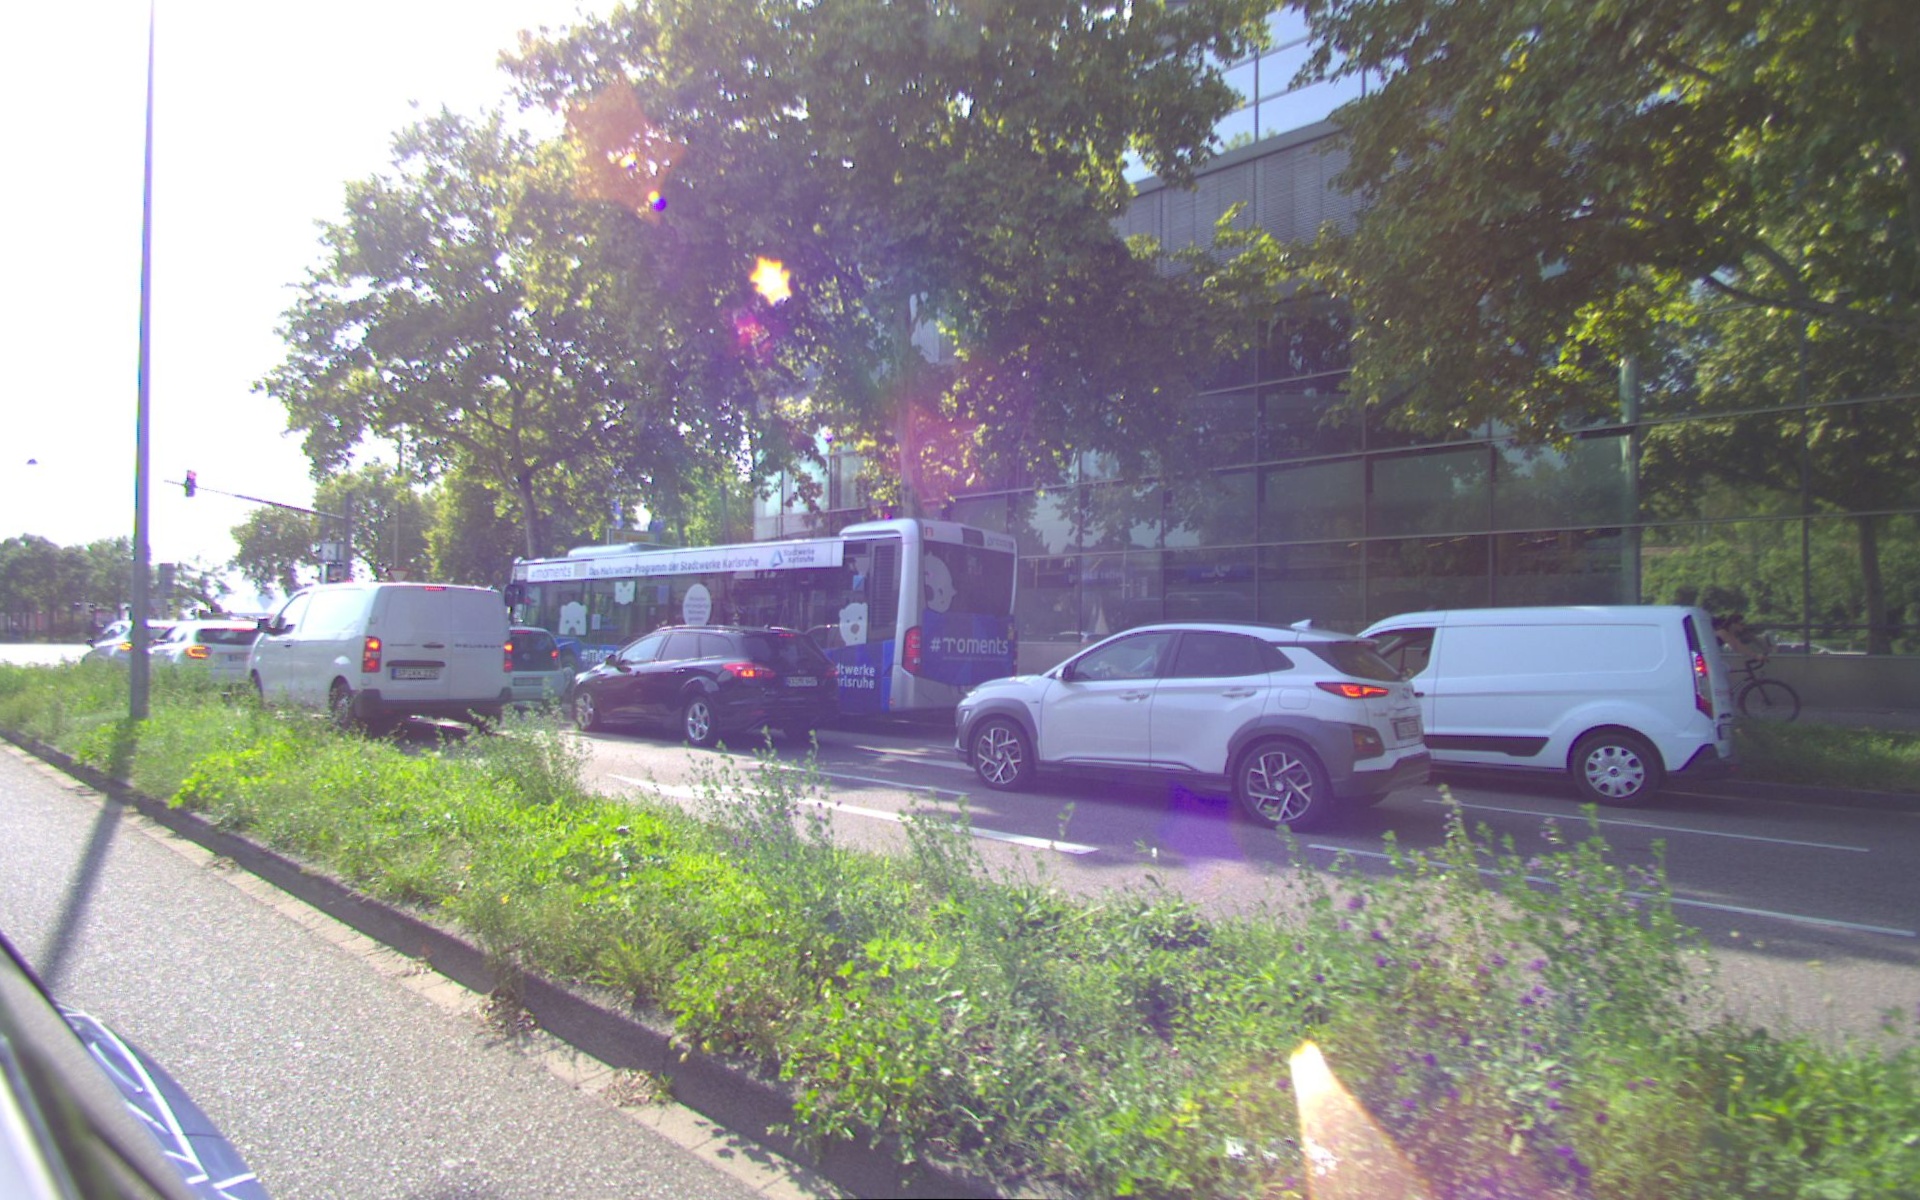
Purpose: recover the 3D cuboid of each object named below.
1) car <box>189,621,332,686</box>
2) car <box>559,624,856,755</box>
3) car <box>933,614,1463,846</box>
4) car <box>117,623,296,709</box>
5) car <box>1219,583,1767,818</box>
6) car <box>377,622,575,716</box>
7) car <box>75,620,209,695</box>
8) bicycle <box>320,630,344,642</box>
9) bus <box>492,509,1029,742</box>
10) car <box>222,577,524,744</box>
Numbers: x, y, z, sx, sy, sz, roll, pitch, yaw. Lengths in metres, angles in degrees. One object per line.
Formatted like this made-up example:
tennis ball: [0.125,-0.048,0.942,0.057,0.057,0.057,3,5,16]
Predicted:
car: [-17.840,1.335,25.758,4.259,1.515,1.836,-1,-3,39]
car: [-3.429,1.077,13.321,4.187,1.444,1.630,-1,-4,41]
car: [1.879,0.933,8.714,4.137,1.540,1.677,-1,-4,40]
car: [-13.837,1.176,18.511,4.080,1.413,1.692,-2,-5,40]
car: [5.244,0.886,10.426,4.745,1.902,1.686,-1,-4,41]
car: [-8.630,1.172,17.928,3.818,1.478,1.689,-1,-4,40]
car: [-18.179,1.218,22.437,3.998,1.507,1.626,-1,-2,41]
bicycle: [-45.993,2.644,74.134,1.723,0.871,0.527,0,-1,20]
bus: [-4.432,0.427,18.450,12.304,3.103,2.563,-1,-2,41]
car: [-8.040,0.756,13.654,4.885,1.878,1.892,-1,-4,40]
